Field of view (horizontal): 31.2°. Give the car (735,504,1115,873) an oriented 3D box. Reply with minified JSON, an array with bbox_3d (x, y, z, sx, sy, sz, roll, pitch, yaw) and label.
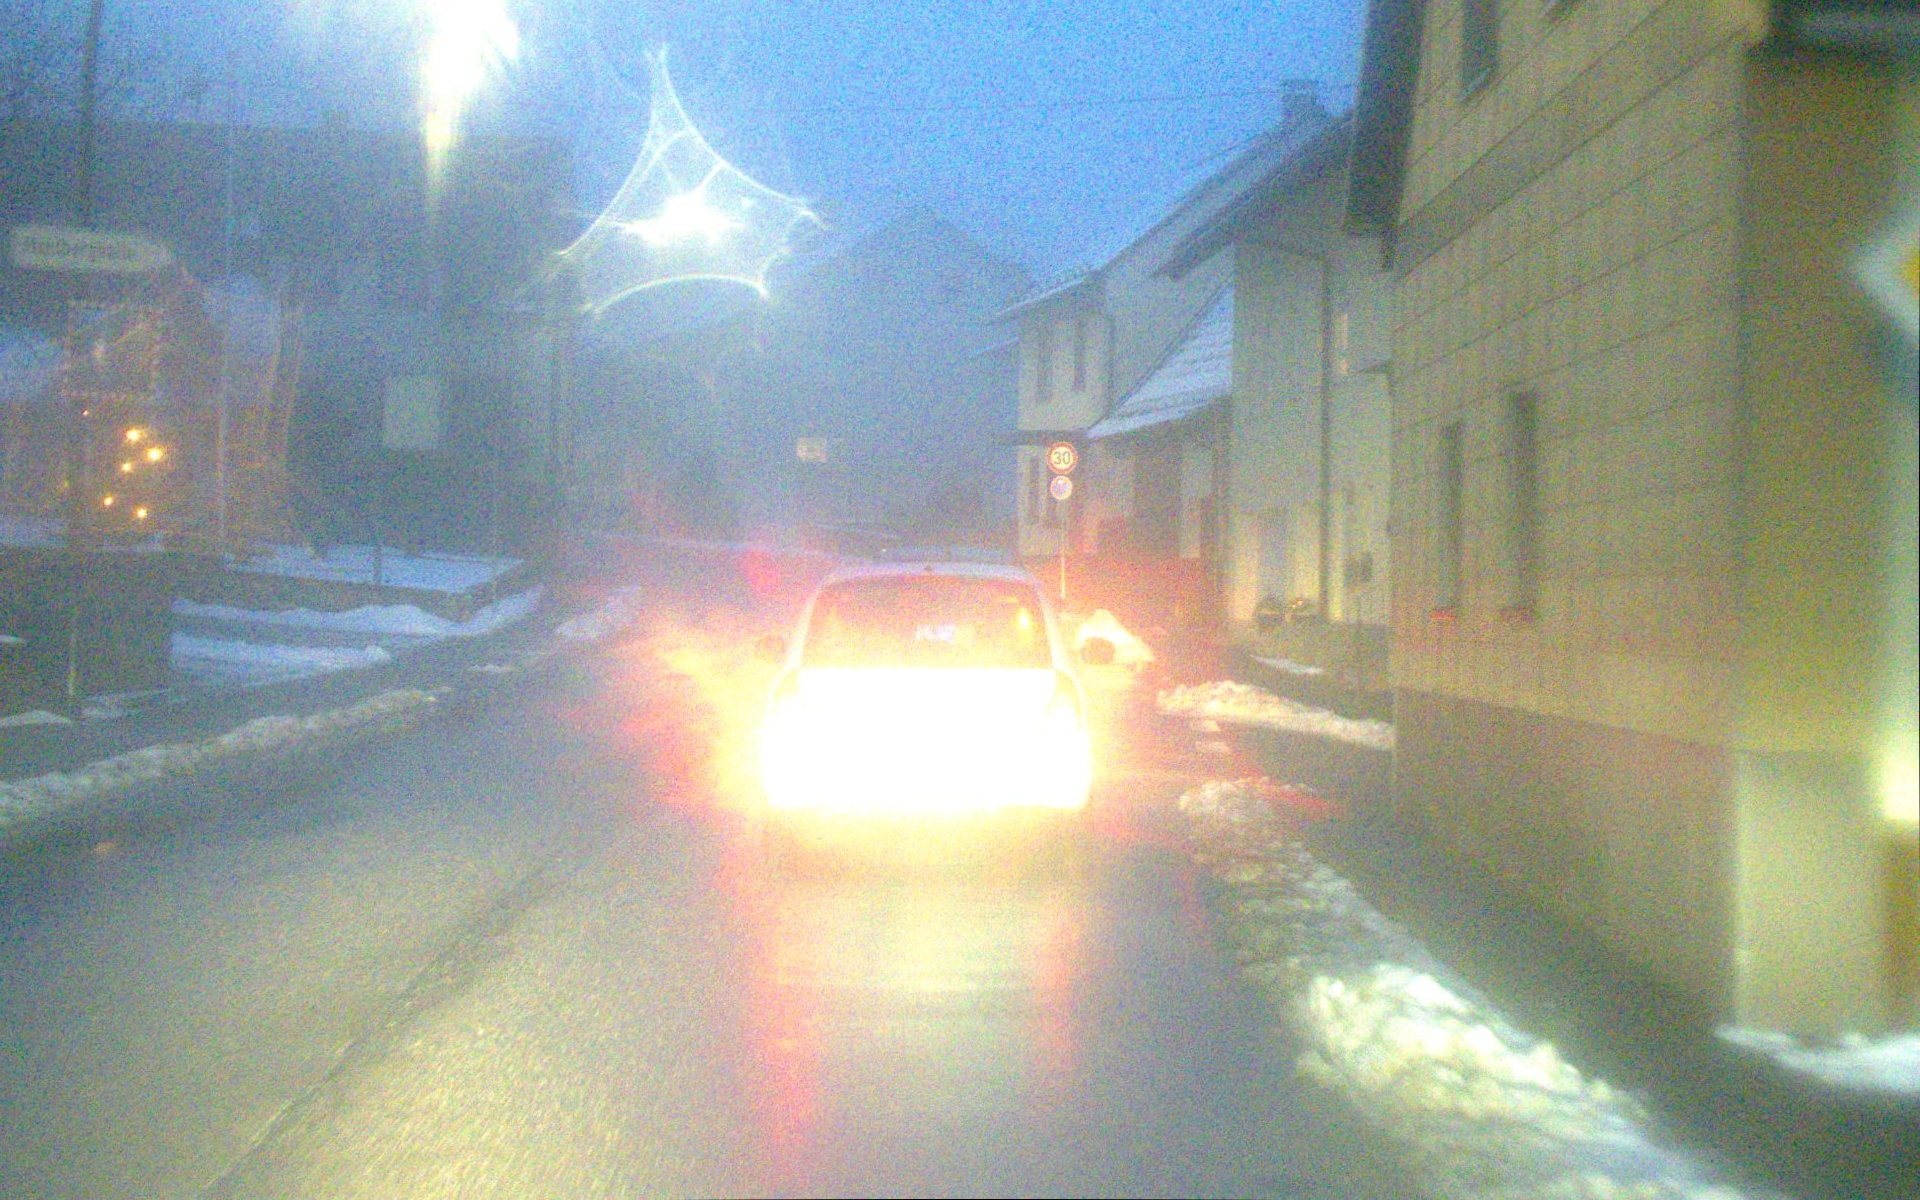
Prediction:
[{"bbox_3d":[-0.106,0.404,17.411,1.645,1.590,3.699,3,0,2],"label":"car"}]

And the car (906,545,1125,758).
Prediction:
[{"bbox_3d":[0.465,0.407,28.839,1.645,1.590,3.699,3,0,1],"label":"car"}]
